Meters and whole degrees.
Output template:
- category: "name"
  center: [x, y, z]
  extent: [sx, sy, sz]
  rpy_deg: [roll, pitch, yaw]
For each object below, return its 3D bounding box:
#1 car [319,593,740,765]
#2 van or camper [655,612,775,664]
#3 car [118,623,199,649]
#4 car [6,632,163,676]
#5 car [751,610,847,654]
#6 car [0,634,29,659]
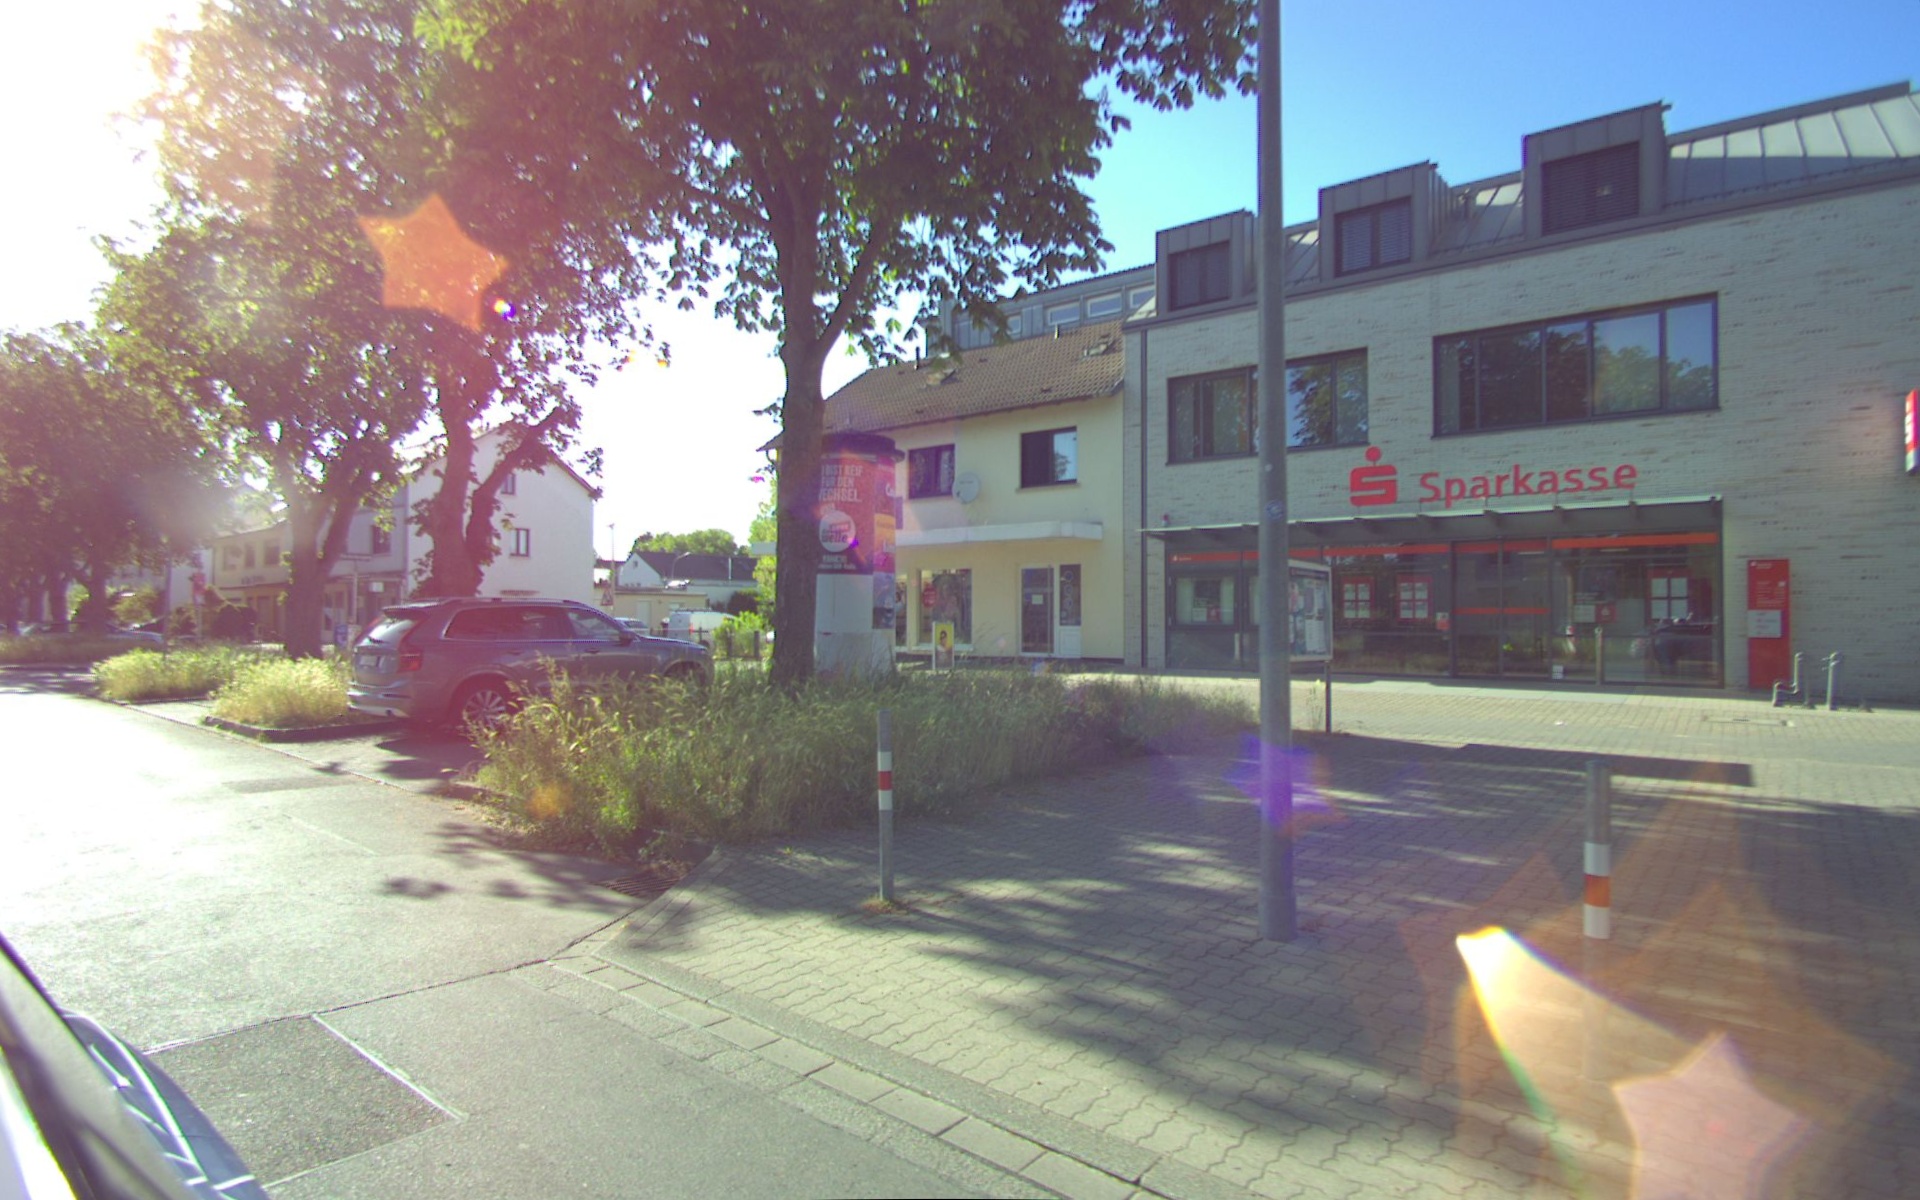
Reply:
- category: "car"
  center: [-5.669, 0.894, 14.020]
  extent: [1.997, 1.740, 5.016]
  rpy_deg: [-1, 2, 37]
- category: "van or camper"
  center: [-10.037, 1.534, 41.752]
  extent: [1.997, 2.029, 4.627]
  rpy_deg: [-1, -2, 38]
- category: "car"
  center: [-49.582, 2.230, 62.611]
  extent: [1.692, 1.577, 3.722]
  rpy_deg: [-1, -2, 44]
- category: "car"
  center: [-33.812, 2.047, 39.168]
  extent: [1.998, 1.426, 4.337]
  rpy_deg: [-1, 0, 40]
- category: "car"
  center: [-7.197, 1.396, 45.537]
  extent: [1.997, 1.844, 3.949]
  rpy_deg: [-1, -1, 38]
- category: "car"
  center: [-54.699, 2.682, 56.568]
  extent: [1.621, 1.333, 3.652]
  rpy_deg: [-1, 1, 35]
